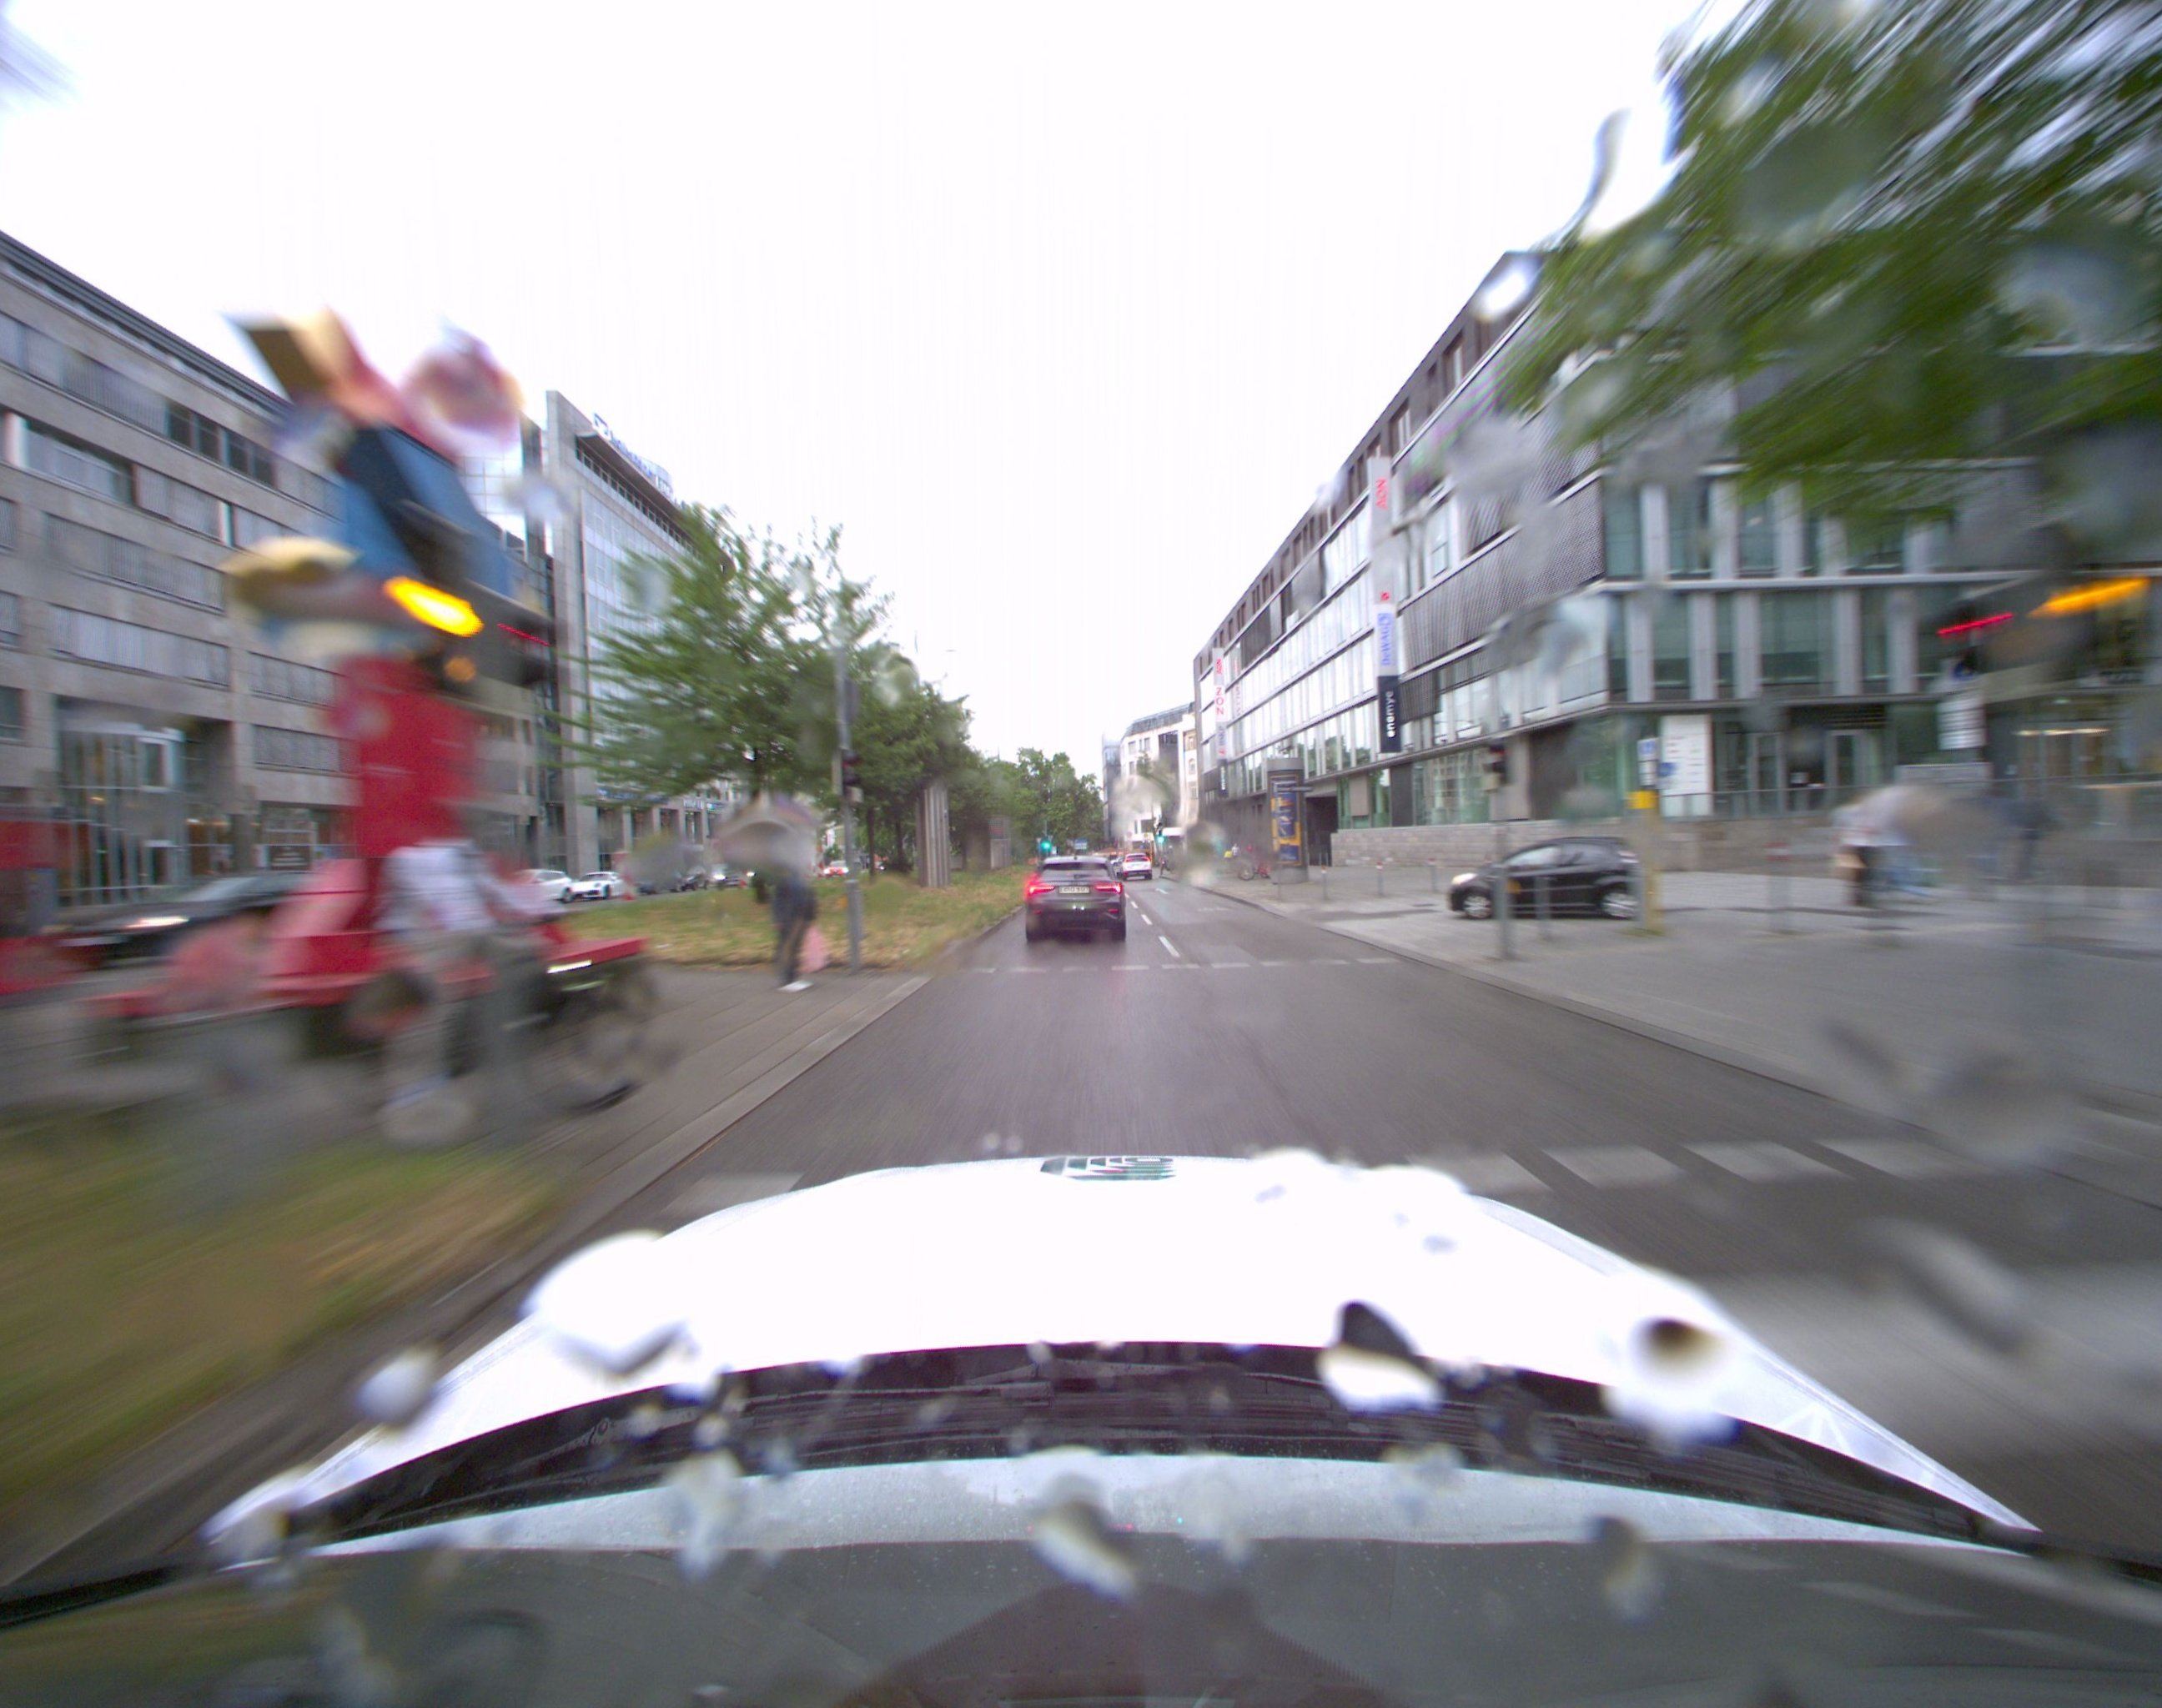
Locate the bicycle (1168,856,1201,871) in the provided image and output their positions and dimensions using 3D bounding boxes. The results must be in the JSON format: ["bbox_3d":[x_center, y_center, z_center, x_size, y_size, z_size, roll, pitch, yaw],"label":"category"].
[{"bbox_3d":[8.232,0.786,64.918,2.529,1.057,0.677,-3,-1,-2],"label":"bicycle"}]

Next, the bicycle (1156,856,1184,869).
[{"bbox_3d":[8.445,0.777,77.278,2.529,1.087,0.677,-3,-1,-2],"label":"bicycle"}]

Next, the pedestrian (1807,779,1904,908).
[{"bbox_3d":[12.711,-0.166,13.392,0.844,2.039,0.756,-2,0,13],"label":"pedestrian"}]

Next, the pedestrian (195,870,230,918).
[{"bbox_3d":[-33.253,1.509,31.195,0.717,1.787,0.529,-2,0,-1],"label":"pedestrian"}]

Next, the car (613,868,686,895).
[{"bbox_3d":[-23.723,1.474,44.947,1.889,1.325,4.469,-2,0,-4],"label":"car"}]

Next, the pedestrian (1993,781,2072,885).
[{"bbox_3d":[17.091,-0.371,14.637,0.650,1.823,0.678,-2,0,-15],"label":"pedestrian"}]

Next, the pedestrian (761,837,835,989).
[{"bbox_3d":[-3.274,0.663,9.468,0.525,1.685,0.722,-2,0,3],"label":"pedestrian"}]

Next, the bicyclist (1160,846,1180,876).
[{"bbox_3d":[6.430,0.492,58.673,1.090,2.083,0.755,-2,-1,-35],"label":"bicyclist"}]

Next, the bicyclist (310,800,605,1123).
[{"bbox_3d":[-3.664,0.591,4.882,1.071,1.749,0.813,1,-2,3],"label":"bicyclist"}]

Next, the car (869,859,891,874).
[{"bbox_3d":[-23.366,1.445,94.710,1.943,1.700,3.991,-2,0,-6],"label":"car"}]

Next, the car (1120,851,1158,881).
[{"bbox_3d":[3.584,0.738,51.010,2.171,1.700,4.002,-2,0,2],"label":"car"}]

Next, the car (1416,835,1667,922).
[{"bbox_3d":[8.508,0.441,15.206,3.785,1.417,1.645,-2,0,40],"label":"car"}]

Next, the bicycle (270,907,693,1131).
[{"bbox_3d":[-3.497,0.931,4.876,1.963,1.139,0.778,1,0,2],"label":"bicycle"}]

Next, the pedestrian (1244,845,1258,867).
[{"bbox_3d":[13.809,0.145,66.063,0.716,1.690,1.099,-5,0,-3],"label":"pedestrian"}]

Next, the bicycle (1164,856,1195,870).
[{"bbox_3d":[8.386,0.768,69.372,2.529,1.087,0.677,-3,-1,-2],"label":"bicycle"}]

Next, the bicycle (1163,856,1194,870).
[{"bbox_3d":[8.369,0.770,70.092,2.529,1.087,0.677,-3,-1,-2],"label":"bicycle"}]

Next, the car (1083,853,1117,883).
[{"bbox_3d":[1.224,0.835,50.207,1.937,1.646,4.247,-2,0,2],"label":"car"}]

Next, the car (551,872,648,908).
[{"bbox_3d":[-22.564,1.655,38.430,1.770,1.401,4.683,-3,0,-1],"label":"car"}]

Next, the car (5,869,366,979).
[{"bbox_3d":[-15.045,1.074,14.092,1.785,1.414,3.997,-4,0,-2],"label":"car"}]

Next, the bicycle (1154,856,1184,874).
[{"bbox_3d":[6.366,0.804,58.607,2.142,1.145,0.755,-3,-1,-35],"label":"bicycle"}]

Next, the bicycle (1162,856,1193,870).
[{"bbox_3d":[8.415,0.777,71.001,2.529,1.060,0.677,-3,-1,-2],"label":"bicycle"}]

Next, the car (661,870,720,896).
[{"bbox_3d":[-24.161,1.773,50.535,1.772,1.401,4.011,-3,0,-3],"label":"car"}]

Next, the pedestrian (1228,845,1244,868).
[{"bbox_3d":[12.577,0.199,66.060,0.898,1.792,1.046,-5,0,-3],"label":"pedestrian"}]

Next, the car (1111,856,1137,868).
[{"bbox_3d":[6.585,1.186,125.199,3.973,1.647,2.000,2,0,1],"label":"car"}]

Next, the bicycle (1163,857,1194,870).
[{"bbox_3d":[8.034,0.786,67.210,2.529,1.087,0.677,-1,-1,-2],"label":"bicycle"}]

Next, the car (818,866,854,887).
[{"bbox_3d":[-19.404,1.779,64.600,1.859,1.429,4.125,-3,0,-5],"label":"car"}]

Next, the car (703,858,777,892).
[{"bbox_3d":[-16.640,0.979,40.030,1.857,1.429,4.561,-3,0,-3],"label":"car"}]

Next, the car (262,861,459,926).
[{"bbox_3d":[-22.105,1.138,25.315,1.856,1.725,4.790,-2,0,-1],"label":"car"}]

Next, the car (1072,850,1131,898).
[{"bbox_3d":[0.729,0.757,32.851,2.156,1.706,4.552,-2,0,-1],"label":"car"}]

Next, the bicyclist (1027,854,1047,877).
[{"bbox_3d":[-3.158,0.821,58.591,1.122,1.582,1.020,0,-1,22],"label":"bicyclist"}]

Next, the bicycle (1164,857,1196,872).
[{"bbox_3d":[8.075,0.818,66.403,2.529,1.087,0.677,-3,-1,-2],"label":"bicycle"}]

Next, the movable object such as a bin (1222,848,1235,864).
[{"bbox_3d":[12.180,0.188,67.420,0.729,1.264,1.444,-5,0,0],"label":"movable object such as a bin"}]

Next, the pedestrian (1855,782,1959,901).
[{"bbox_3d":[13.629,-0.199,13.470,0.796,1.868,0.901,-2,0,9],"label":"pedestrian"}]

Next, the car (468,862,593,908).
[{"bbox_3d":[-22.367,1.188,33.353,1.770,1.622,4.911,-2,0,-1],"label":"car"}]

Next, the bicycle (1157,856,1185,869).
[{"bbox_3d":[8.456,0.758,76.529,2.529,1.087,0.677,-3,-1,-2],"label":"bicycle"}]

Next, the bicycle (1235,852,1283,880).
[{"bbox_3d":[8.034,0.530,36.769,1.974,1.104,0.809,-4,0,5],"label":"bicycle"}]

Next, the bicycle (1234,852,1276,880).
[{"bbox_3d":[8.260,0.577,38.617,1.827,1.197,0.661,-4,0,5],"label":"bicycle"}]

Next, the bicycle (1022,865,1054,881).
[{"bbox_3d":[-3.104,1.358,58.548,2.043,1.114,1.017,0,-1,22],"label":"bicycle"}]

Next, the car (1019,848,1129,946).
[{"bbox_3d":[-0.016,0.728,16.111,1.840,1.616,4.255,-2,0,3],"label":"car"}]

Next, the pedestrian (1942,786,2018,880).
[{"bbox_3d":[16.996,-0.398,15.413,0.645,1.725,0.774,-2,0,-24],"label":"pedestrian"}]
